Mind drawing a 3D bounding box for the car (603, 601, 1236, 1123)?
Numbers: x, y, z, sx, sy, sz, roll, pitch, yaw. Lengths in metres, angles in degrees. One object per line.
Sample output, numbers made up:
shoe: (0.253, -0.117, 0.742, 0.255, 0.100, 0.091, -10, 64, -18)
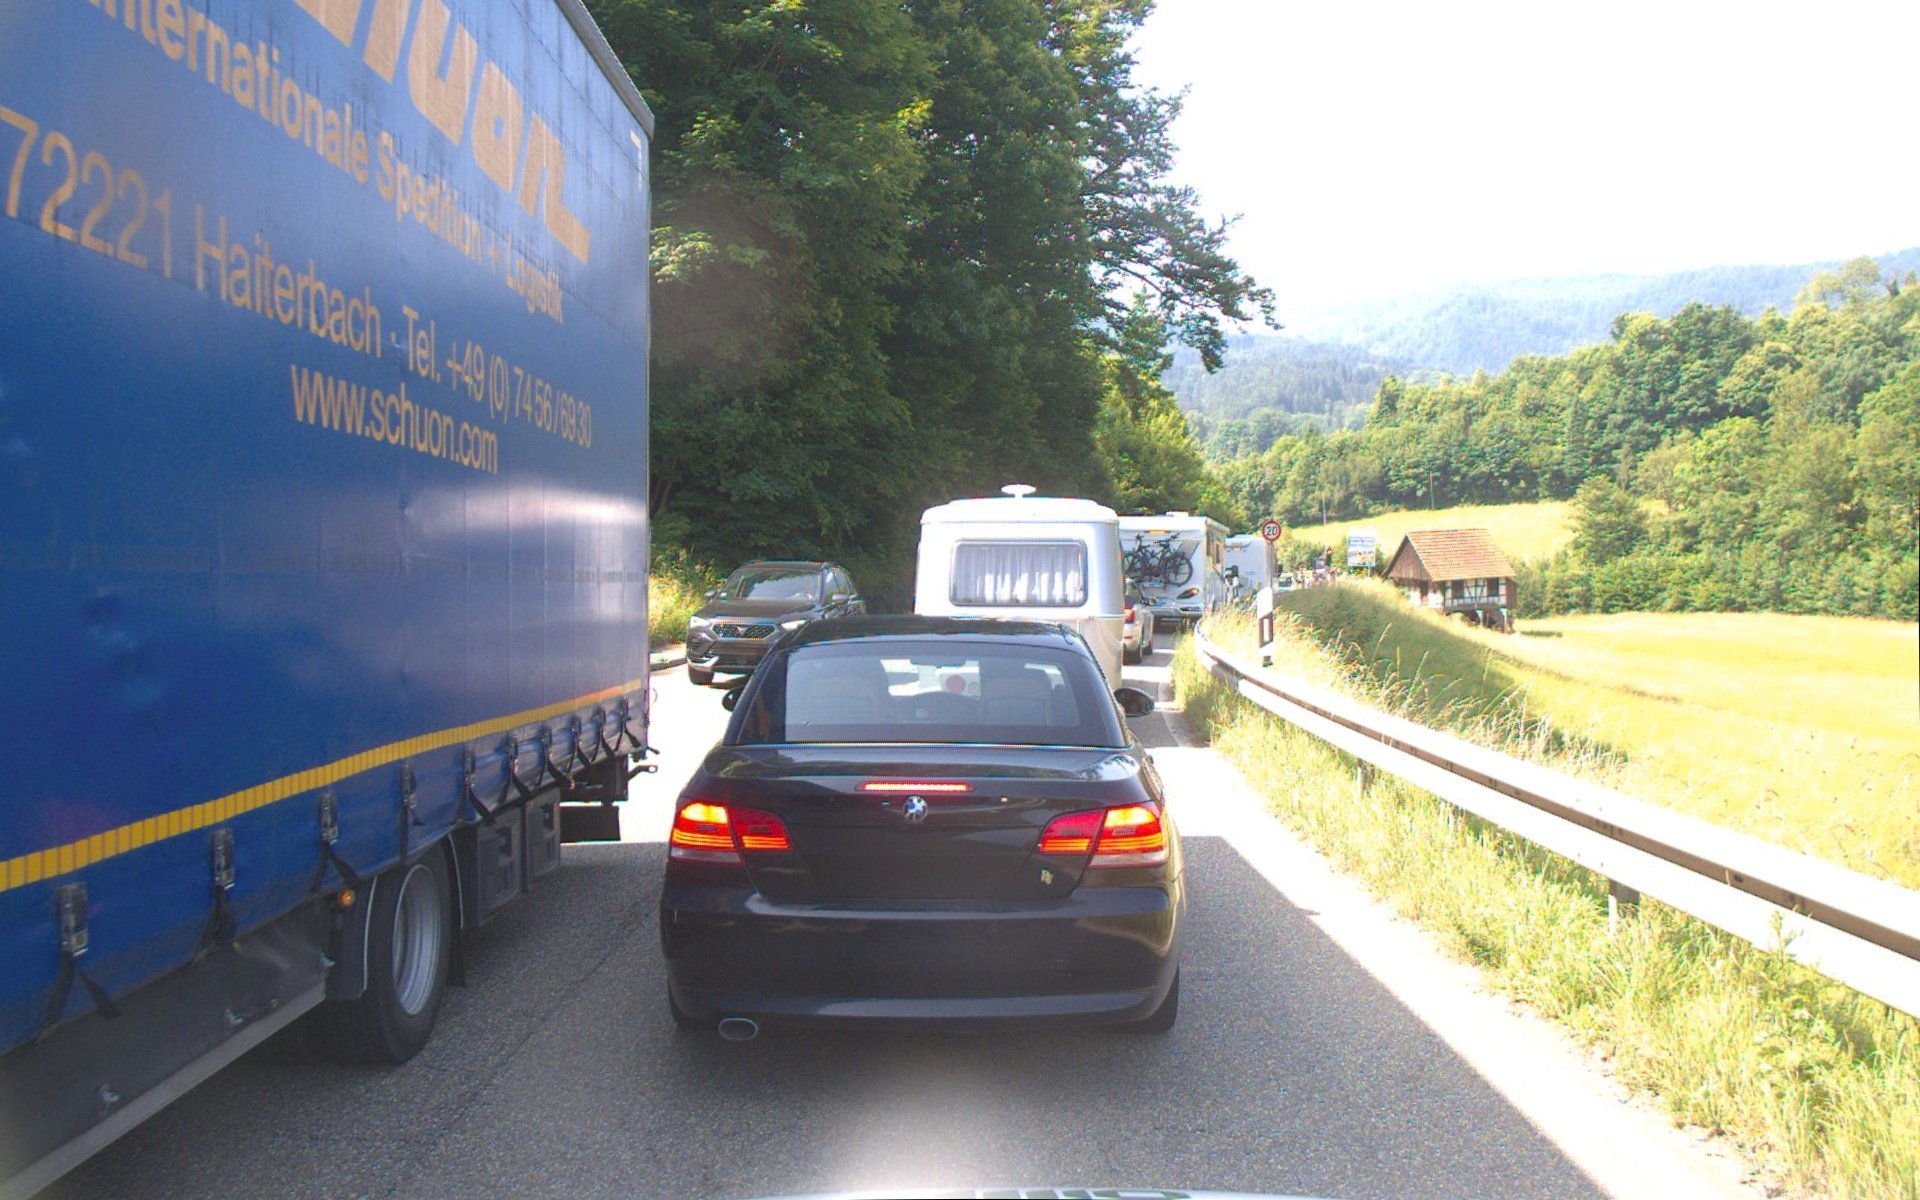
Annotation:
car: (-0.047, 0.718, 6.434, 1.734, 1.359, 3.768, 0, 1, 2)

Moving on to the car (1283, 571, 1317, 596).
car: (25.100, -1.227, 122.018, 1.952, 1.713, 4.002, 1, 0, 18)

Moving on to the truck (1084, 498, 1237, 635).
truck: (5.180, -0.863, 41.544, 2.732, 3.049, 6.873, 3, 2, 15)

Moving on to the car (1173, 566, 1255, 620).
car: (7.886, -0.248, 51.131, 1.952, 1.489, 4.003, 3, 2, 16)

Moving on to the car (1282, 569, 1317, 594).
car: (23.079, -1.219, 112.359, 1.951, 1.603, 4.002, 1, 0, 17)

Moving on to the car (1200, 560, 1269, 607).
car: (9.455, -0.583, 56.783, 1.750, 1.489, 4.002, 3, 2, 18)

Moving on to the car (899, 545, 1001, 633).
car: (-0.163, -0.279, 37.882, 1.878, 1.859, 4.494, -1, 1, 5)

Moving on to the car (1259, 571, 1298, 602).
car: (16.461, -0.689, 85.287, 1.866, 1.512, 4.003, 1, 0, 12)

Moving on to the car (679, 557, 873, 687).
car: (-2.432, 0.227, 22.856, 1.783, 1.612, 4.086, 1, 1, 7)

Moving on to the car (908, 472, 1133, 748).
car: (0.706, 0.034, 16.913, 1.951, 2.394, 4.917, 0, 1, 4)

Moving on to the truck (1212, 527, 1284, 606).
truck: (11.058, -1.220, 63.132, 2.190, 2.853, 6.237, 1, 0, 14)

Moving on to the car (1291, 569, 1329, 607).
car: (20.099, -0.669, 94.954, 1.951, 1.959, 4.003, 4, 0, 12)

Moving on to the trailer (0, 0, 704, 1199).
trailer: (-2.986, -0.826, 2.279, 3.193, 4.494, 15.313, 1, 1, -1)

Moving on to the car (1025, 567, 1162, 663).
car: (2.427, 0.211, 29.242, 1.951, 1.510, 4.004, 2, 1, 11)
